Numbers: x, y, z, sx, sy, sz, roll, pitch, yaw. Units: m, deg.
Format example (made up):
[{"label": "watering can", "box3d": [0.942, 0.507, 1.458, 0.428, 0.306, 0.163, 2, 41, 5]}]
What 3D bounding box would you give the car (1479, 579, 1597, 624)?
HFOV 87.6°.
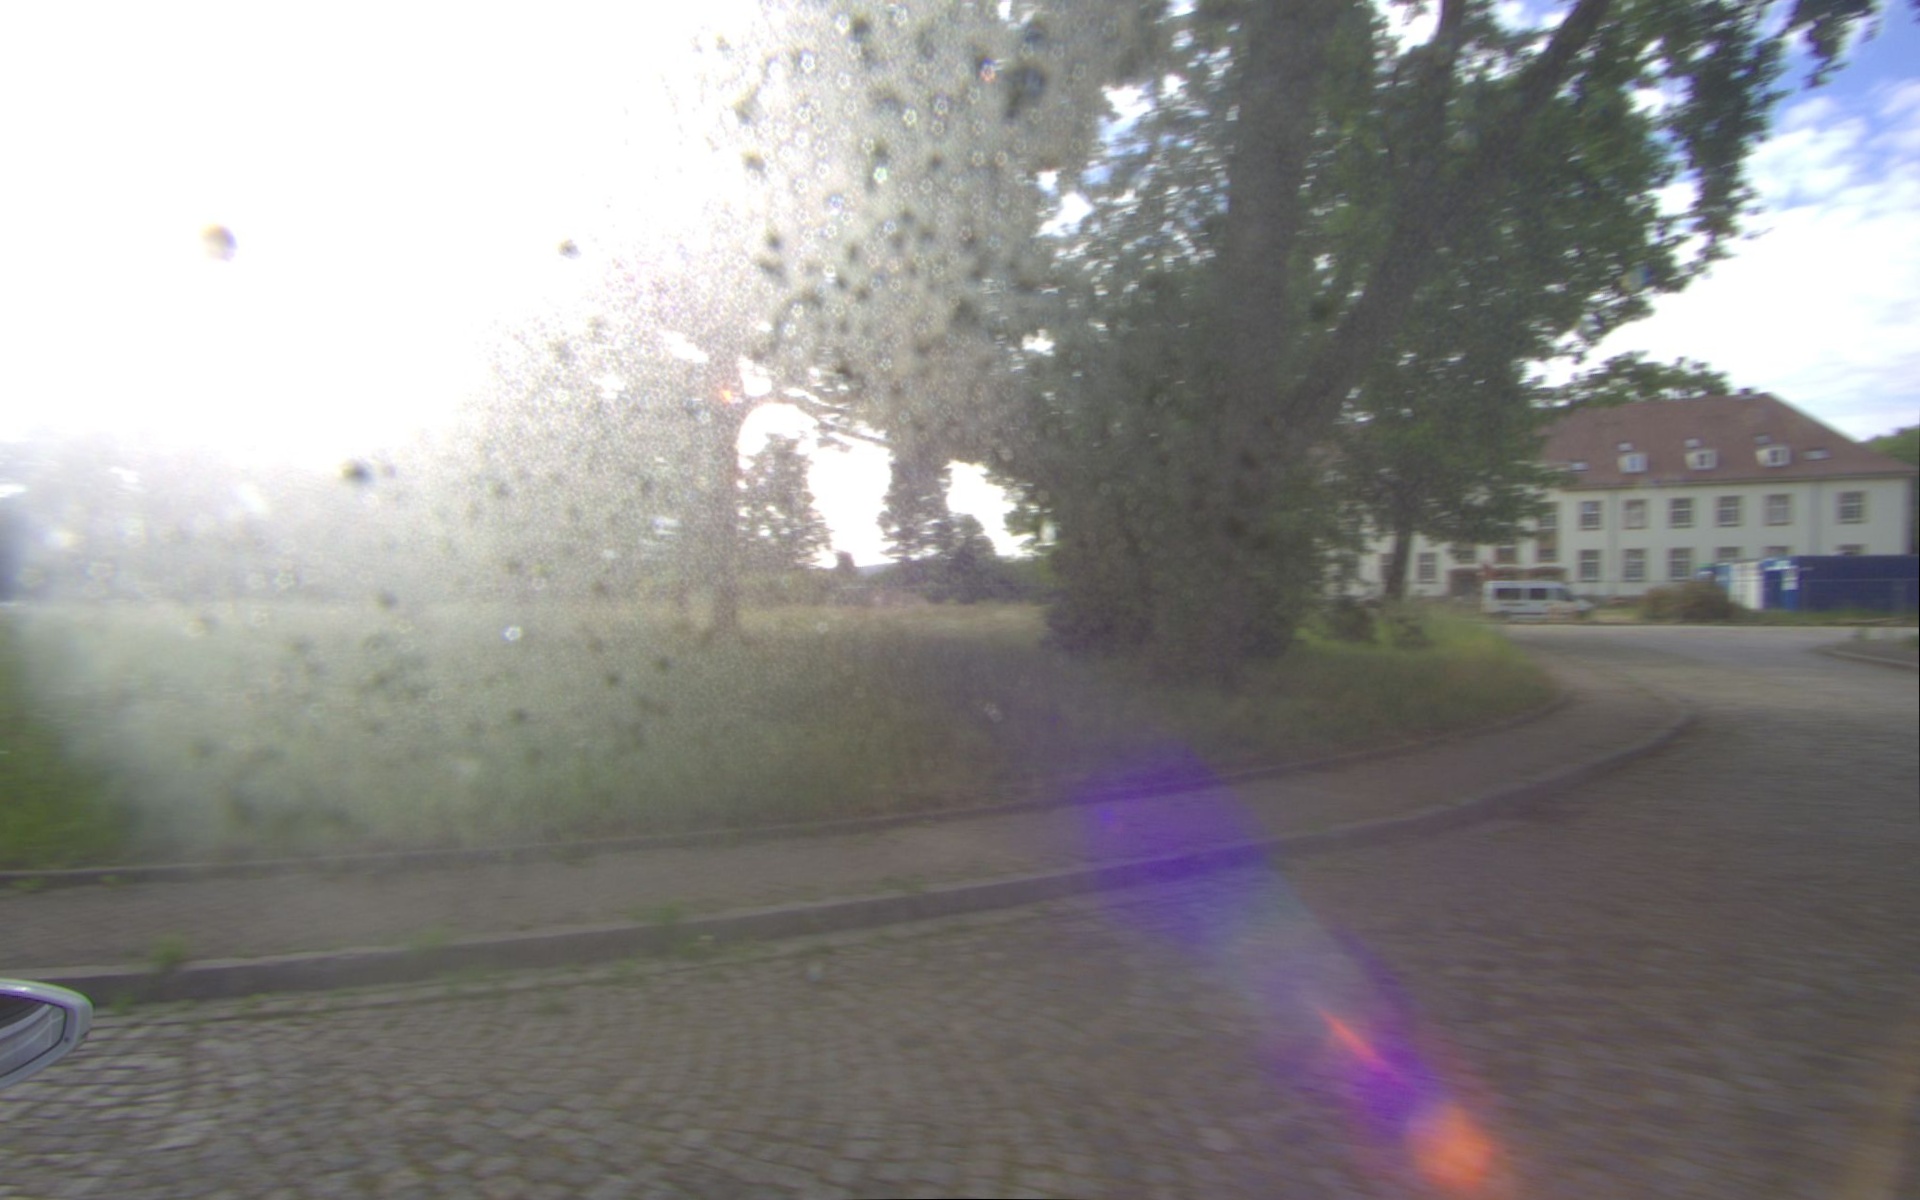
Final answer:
[{"label": "car", "box3d": [31.987, 0.033, 55.642, 5.441, 2.239, 2.117, 1, 4, 26]}]
